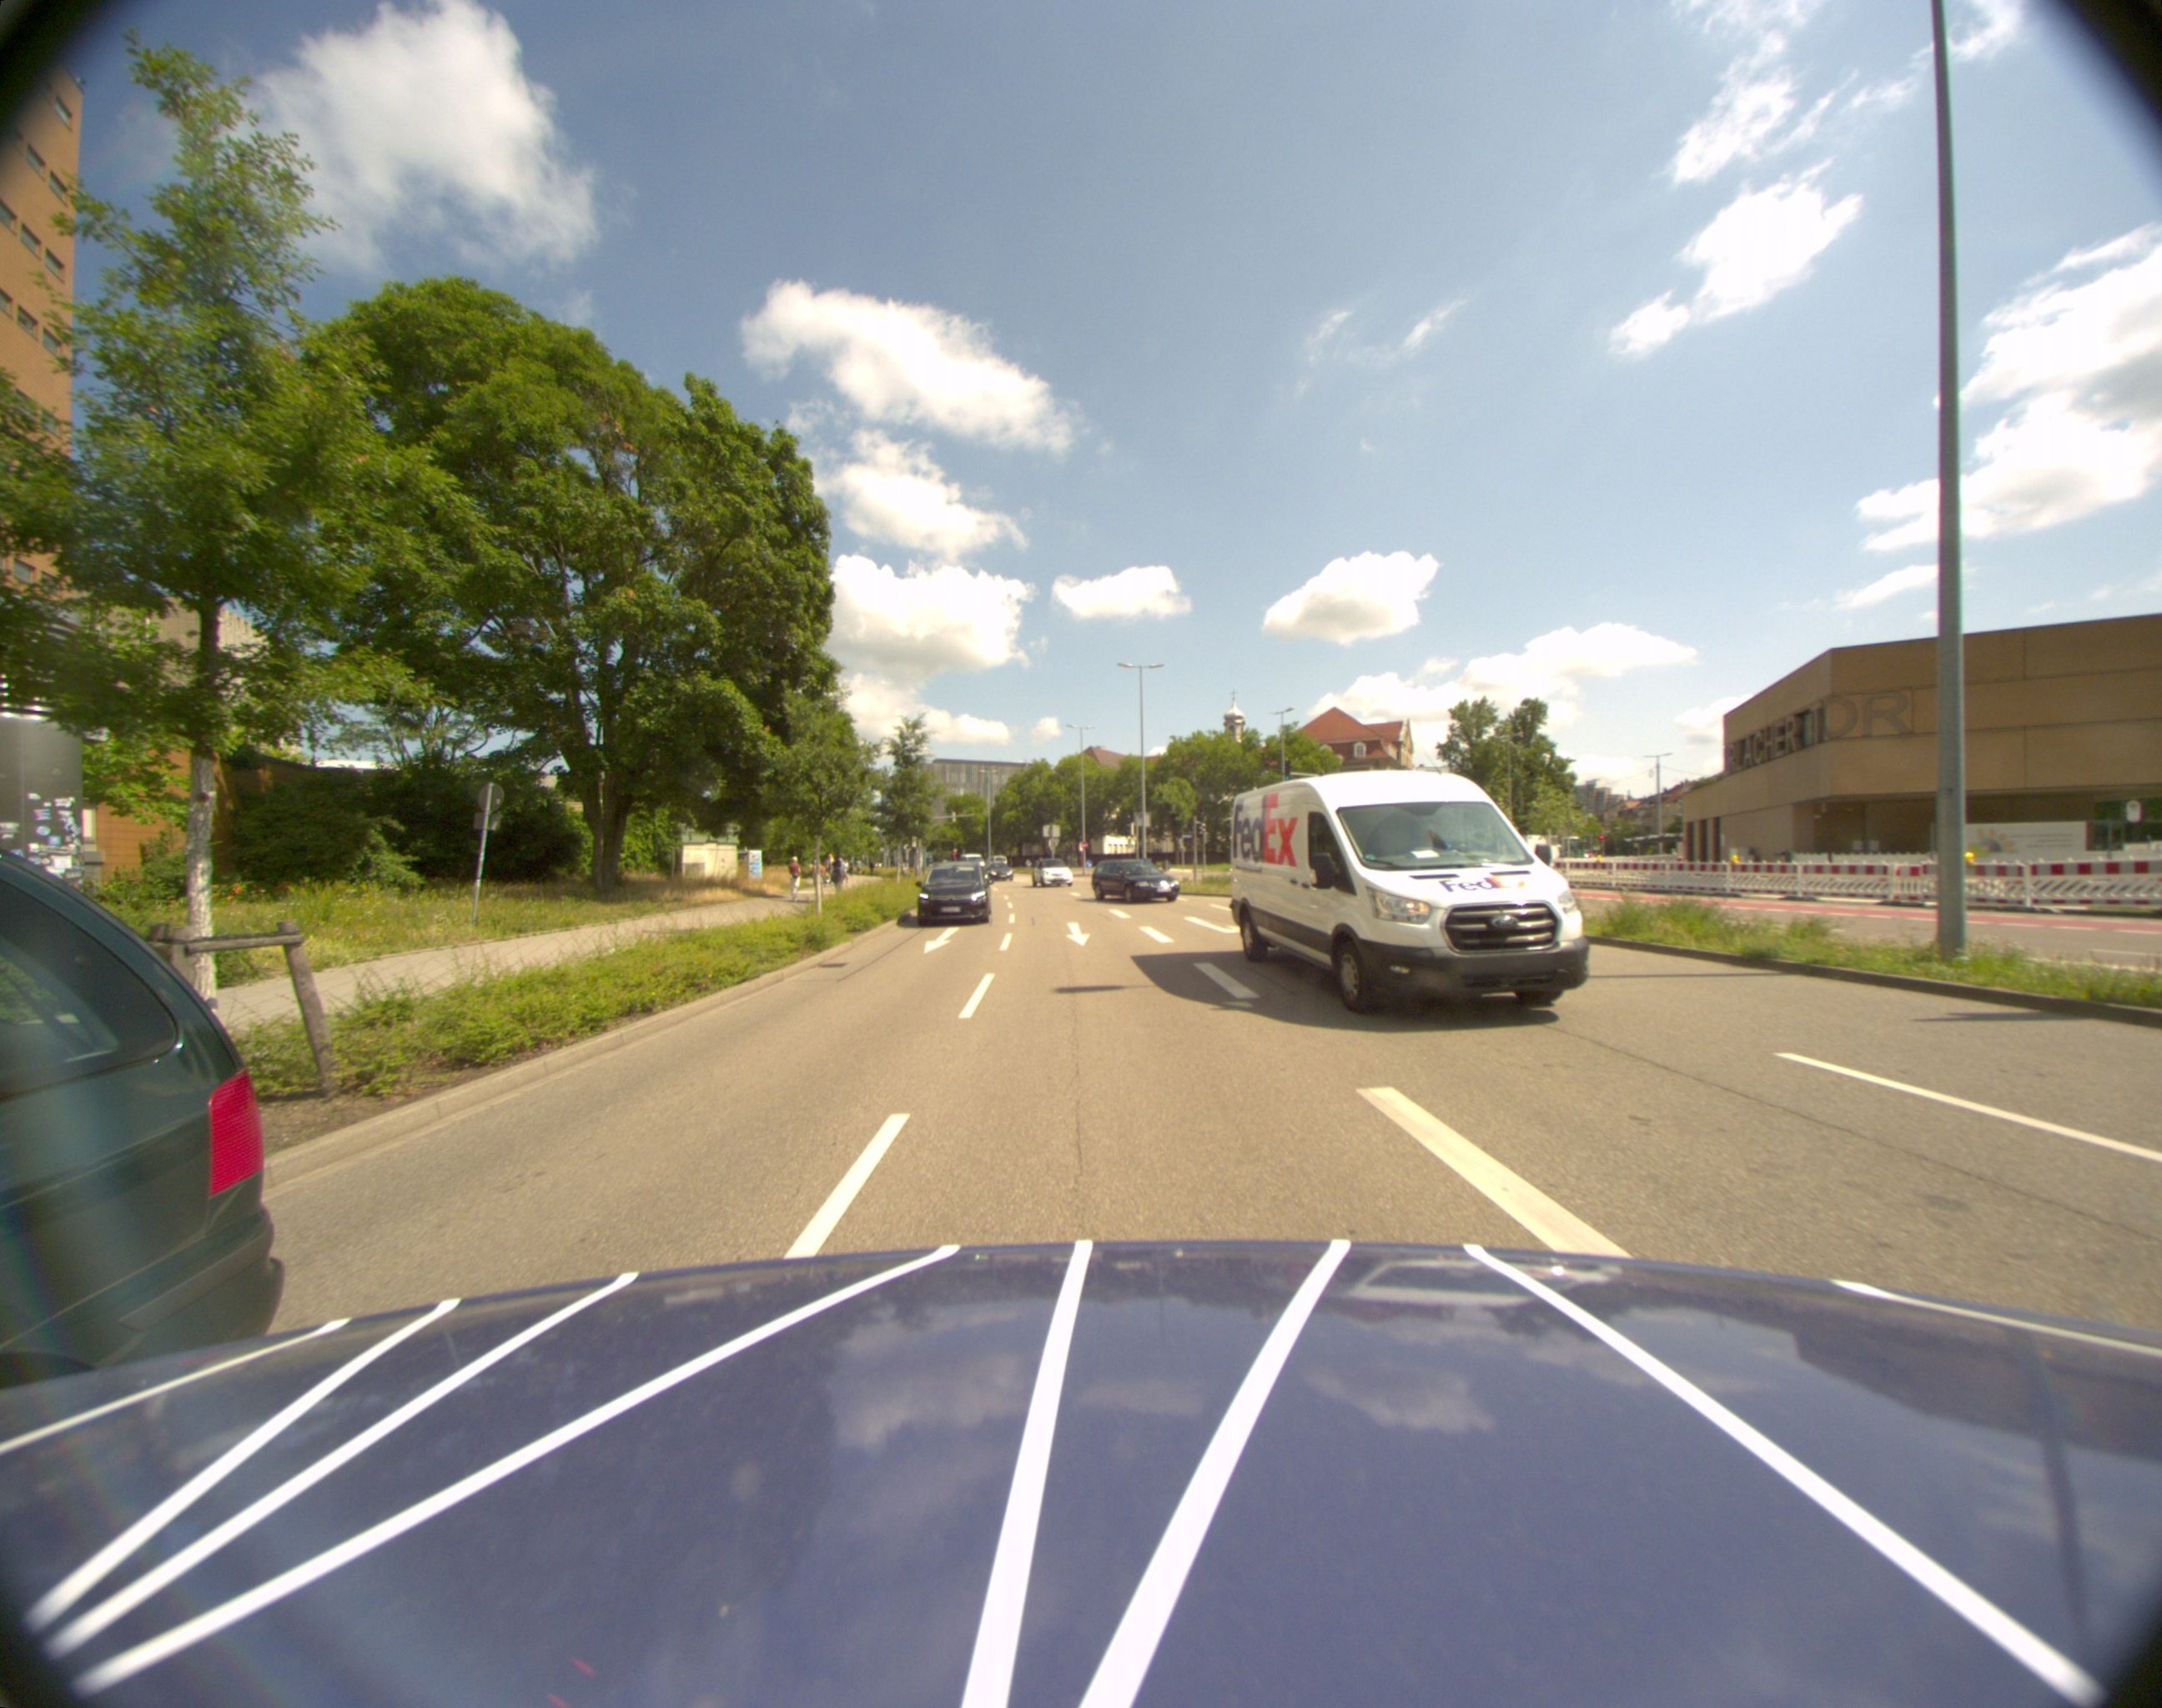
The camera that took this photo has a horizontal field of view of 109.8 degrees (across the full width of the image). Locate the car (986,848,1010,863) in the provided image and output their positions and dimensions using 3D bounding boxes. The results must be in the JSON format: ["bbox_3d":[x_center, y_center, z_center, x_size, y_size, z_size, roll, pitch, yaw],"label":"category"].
[{"bbox_3d":[-11.089,0.240,100.964,1.889,1.883,4.860,-1,0,-22],"label":"car"}]

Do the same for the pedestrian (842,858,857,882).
[{"bbox_3d":[-15.628,1.096,51.325,0.753,1.586,0.879,1,0,-31],"label":"pedestrian"}]

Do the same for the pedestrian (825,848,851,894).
[{"bbox_3d":[-8.684,0.602,27.213,0.652,1.616,0.774,2,1,0],"label":"pedestrian"}]

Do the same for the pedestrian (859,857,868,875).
[{"bbox_3d":[-22.644,1.246,79.032,0.753,1.767,0.879,1,0,-29],"label":"pedestrian"}]

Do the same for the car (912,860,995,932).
[{"bbox_3d":[-3.400,1.047,20.953,1.863,1.613,4.517,-3,1,-6],"label":"car"}]

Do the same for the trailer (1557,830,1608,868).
[{"bbox_3d":[40.417,-0.425,61.371,1.996,2.897,4.369,-2,1,13],"label":"trailer"}]

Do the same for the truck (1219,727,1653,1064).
[{"bbox_3d":[3.398,0.302,9.033,2.143,2.624,5.915,-2,1,-2],"label":"truck"}]

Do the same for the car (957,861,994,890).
[{"bbox_3d":[-5.788,1.126,41.510,1.767,1.409,4.359,-3,1,-10],"label":"car"}]

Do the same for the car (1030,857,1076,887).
[{"bbox_3d":[-1.638,0.964,43.035,1.753,1.496,4.515,-3,1,-13],"label":"car"}]

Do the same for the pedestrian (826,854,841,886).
[{"bbox_3d":[-13.654,0.883,41.937,0.752,1.791,0.608,0,0,-17],"label":"pedestrian"}]

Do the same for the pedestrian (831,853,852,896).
[{"bbox_3d":[-10.298,0.865,32.669,0.759,1.810,0.779,2,0,-21],"label":"pedestrian"}]

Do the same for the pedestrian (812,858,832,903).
[{"bbox_3d":[-9.738,0.990,28.574,0.589,1.617,0.726,-2,2,-15],"label":"pedestrian"}]

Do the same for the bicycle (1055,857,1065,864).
[{"bbox_3d":[-3.512,1.066,126.913,0.399,1.037,1.952,-1,0,-40],"label":"bicycle"}]

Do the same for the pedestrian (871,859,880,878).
[{"bbox_3d":[-18.839,1.357,69.523,0.669,1.739,0.846,0,0,-24],"label":"pedestrian"}]

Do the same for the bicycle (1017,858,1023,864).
[{"bbox_3d":[-10.974,1.243,136.660,0.383,1.037,1.666,-1,0,-36],"label":"bicycle"}]

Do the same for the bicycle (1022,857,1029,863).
[{"bbox_3d":[-9.929,1.142,135.211,0.383,1.037,1.666,-1,0,-36],"label":"bicycle"}]

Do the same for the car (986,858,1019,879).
[{"bbox_3d":[-6.058,1.069,58.159,1.753,1.496,4.514,-3,1,-15],"label":"car"}]

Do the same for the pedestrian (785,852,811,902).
[{"bbox_3d":[-10.588,0.835,28.457,0.758,1.811,0.637,-2,2,-15],"label":"pedestrian"}]

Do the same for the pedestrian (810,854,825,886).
[{"bbox_3d":[-14.343,0.879,41.415,0.752,1.742,0.608,0,0,-17],"label":"pedestrian"}]

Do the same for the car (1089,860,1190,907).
[{"bbox_3d":[1.946,0.996,26.823,1.754,1.426,4.513,-3,0,-20],"label":"car"}]

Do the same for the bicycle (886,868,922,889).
[{"bbox_3d":[-9.492,1.301,40.637,1.817,1.044,0.591,2,1,-16],"label":"bicycle"}]

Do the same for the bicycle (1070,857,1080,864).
[{"bbox_3d":[-0.971,1.037,124.118,0.399,1.037,1.952,-1,0,-43],"label":"bicycle"}]

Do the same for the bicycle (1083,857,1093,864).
[{"bbox_3d":[1.059,1.058,121.745,0.399,1.037,1.952,-1,0,-43],"label":"bicycle"}]

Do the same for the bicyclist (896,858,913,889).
[{"bbox_3d":[-9.433,1.034,40.641,0.831,1.592,0.579,2,1,-16],"label":"bicyclist"}]

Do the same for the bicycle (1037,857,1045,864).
[{"bbox_3d":[-6.923,1.130,131.228,0.399,1.037,1.579,-1,0,-37],"label":"bicycle"}]

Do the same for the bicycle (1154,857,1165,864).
[{"bbox_3d":[11.502,0.925,111.858,1.682,1.024,0.399,-1,0,40],"label":"bicycle"}]

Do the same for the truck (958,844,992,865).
[{"bbox_3d":[-12.582,0.078,89.724,2.466,2.287,5.805,-3,1,-22],"label":"truck"}]

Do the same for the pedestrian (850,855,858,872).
[{"bbox_3d":[-23.453,0.980,78.508,0.669,1.736,0.608,0,0,-29],"label":"pedestrian"}]

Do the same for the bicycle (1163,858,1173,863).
[{"bbox_3d":[12.721,0.931,110.823,1.462,0.784,0.399,-1,0,40],"label":"bicycle"}]
